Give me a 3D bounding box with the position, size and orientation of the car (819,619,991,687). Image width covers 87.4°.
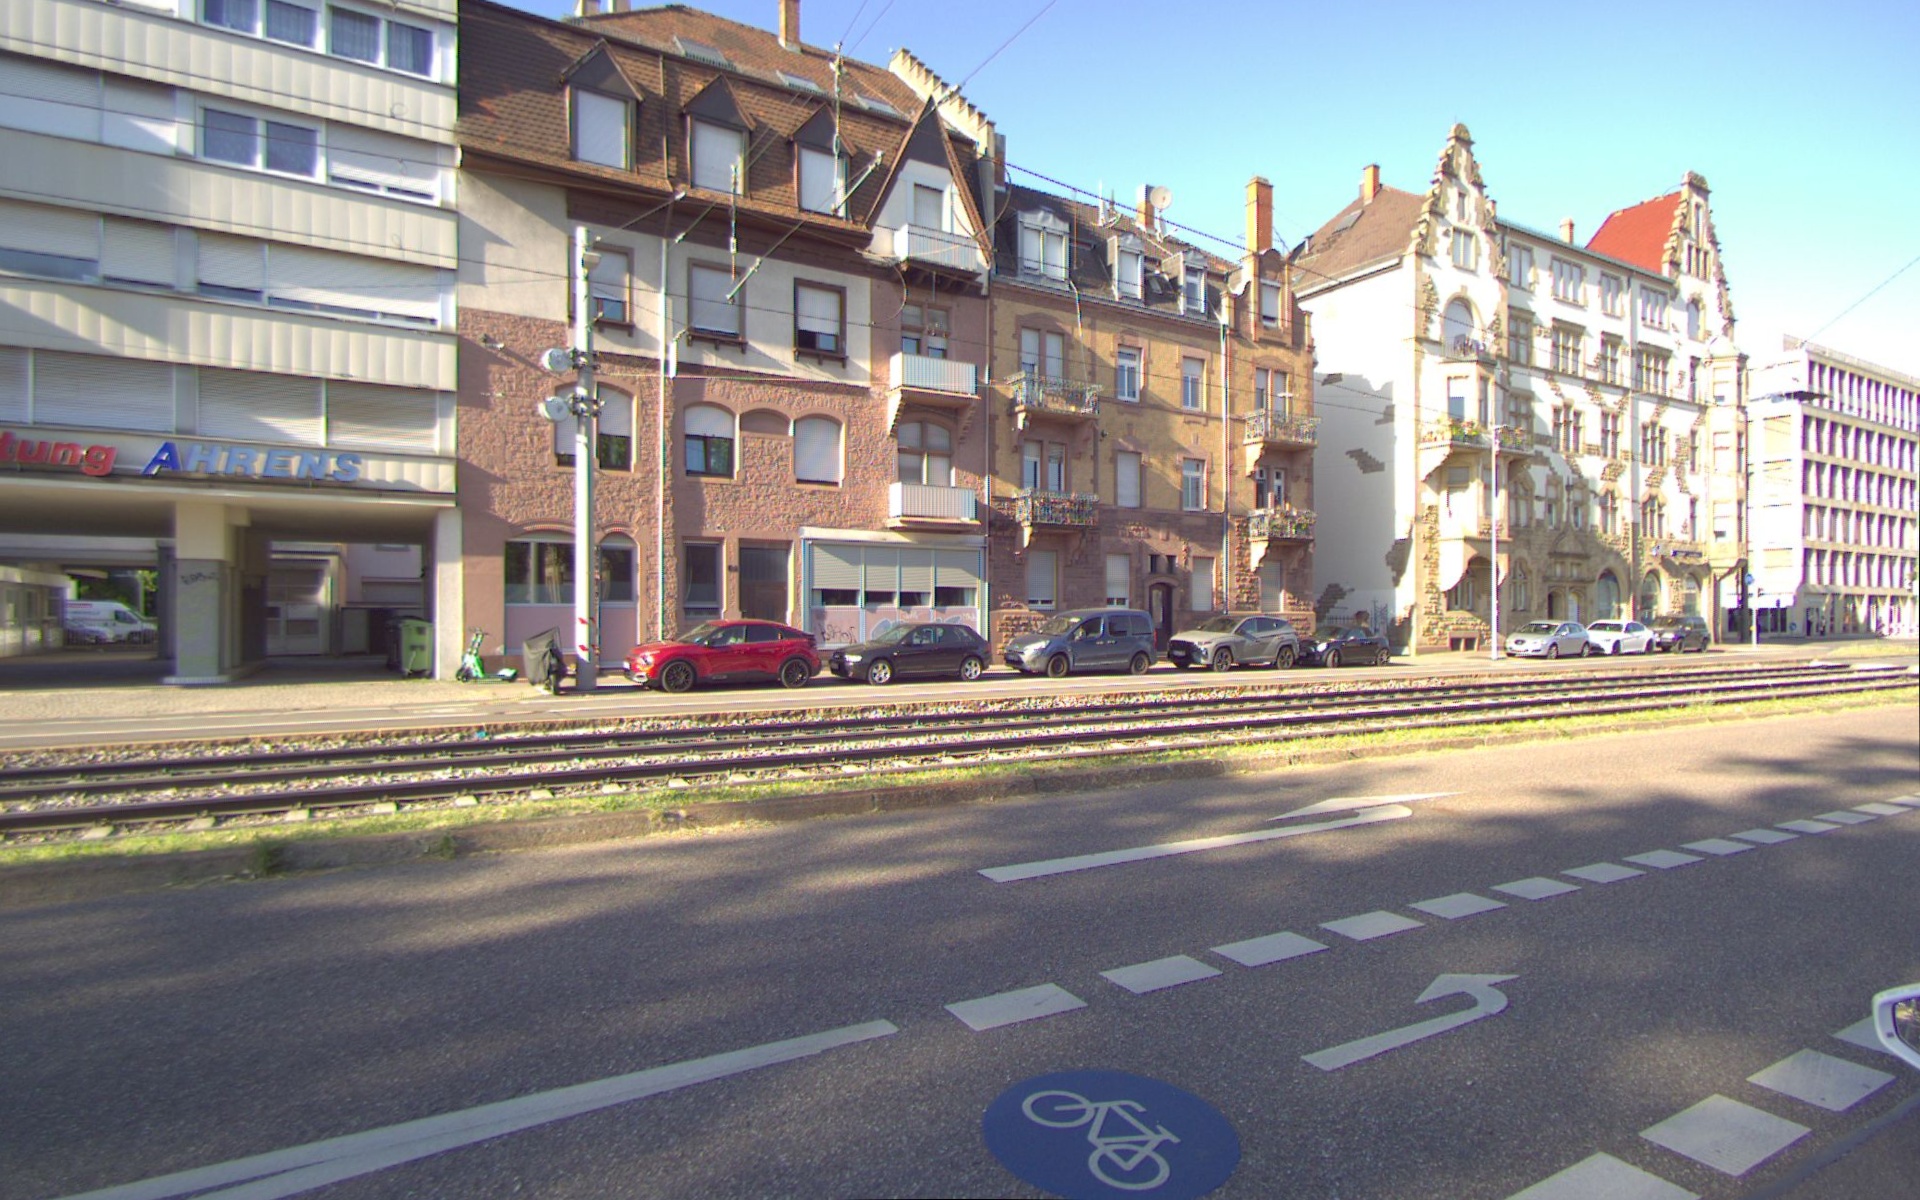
[{"bbox_3d":[-1.330,1.233,24.597,3.884,1.457,1.686,0,2,-32],"label":"car"}]

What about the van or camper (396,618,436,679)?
[{"bbox_3d":[-12.855,1.126,23.710,0.794,1.375,1.417,0,-1,-30],"label":"van or camper"}]

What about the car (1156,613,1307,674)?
[{"bbox_3d":[8.238,1.259,30.402,4.452,1.645,1.846,0,2,-32],"label":"car"}]

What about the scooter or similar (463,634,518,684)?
[{"bbox_3d":[-10.585,1.321,22.658,1.108,1.084,0.203,0,1,-31],"label":"scooter or similar"}]

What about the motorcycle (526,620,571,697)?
[{"bbox_3d":[-8.477,1.167,20.673,0.621,1.441,1.846,0,2,-29],"label":"motorcycle"}]

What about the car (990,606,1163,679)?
[{"bbox_3d":[3.187,1.098,27.335,4.363,1.782,1.877,1,2,-29],"label":"car"}]

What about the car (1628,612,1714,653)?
[{"bbox_3d":[32.109,1.417,45.326,4.170,1.698,1.707,0,1,-32],"label":"car"}]

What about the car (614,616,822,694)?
[{"bbox_3d":[-5.377,1.155,22.441,4.163,1.519,1.846,0,2,-32],"label":"car"}]

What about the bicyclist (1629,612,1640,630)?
[{"bbox_3d":[62.462,1.926,93.016,0.570,1.708,0.638,0,-1,-31],"label":"bicyclist"}]

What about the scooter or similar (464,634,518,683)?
[{"bbox_3d":[-10.687,1.319,22.906,1.108,1.084,0.203,0,1,-31],"label":"scooter or similar"}]

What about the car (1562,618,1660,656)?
[{"bbox_3d":[27.561,1.540,42.475,4.605,1.442,1.707,0,1,-33],"label":"car"}]

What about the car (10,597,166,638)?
[{"bbox_3d":[-50.657,1.039,58.579,6.526,2.288,2.342,1,-1,-32],"label":"car"}]

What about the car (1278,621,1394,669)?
[{"bbox_3d":[12.282,1.421,32.760,3.684,1.373,1.613,0,2,-32],"label":"car"}]

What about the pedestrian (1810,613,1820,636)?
[{"bbox_3d":[69.622,1.967,81.790,0.522,1.868,0.443,-1,-1,22],"label":"pedestrian"}]

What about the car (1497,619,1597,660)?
[{"bbox_3d":[23.060,1.504,39.442,4.178,1.450,1.699,0,1,-33],"label":"car"}]

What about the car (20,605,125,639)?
[{"bbox_3d":[-49.251,1.239,55.840,4.076,1.835,1.878,1,-1,-32],"label":"car"}]

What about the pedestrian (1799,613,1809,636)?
[{"bbox_3d":[69.107,1.975,82.219,0.464,1.868,0.443,-1,-1,22],"label":"pedestrian"}]

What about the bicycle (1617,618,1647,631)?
[{"bbox_3d":[62.347,2.288,93.215,0.570,1.231,2.370,0,-1,-30],"label":"bicycle"}]
